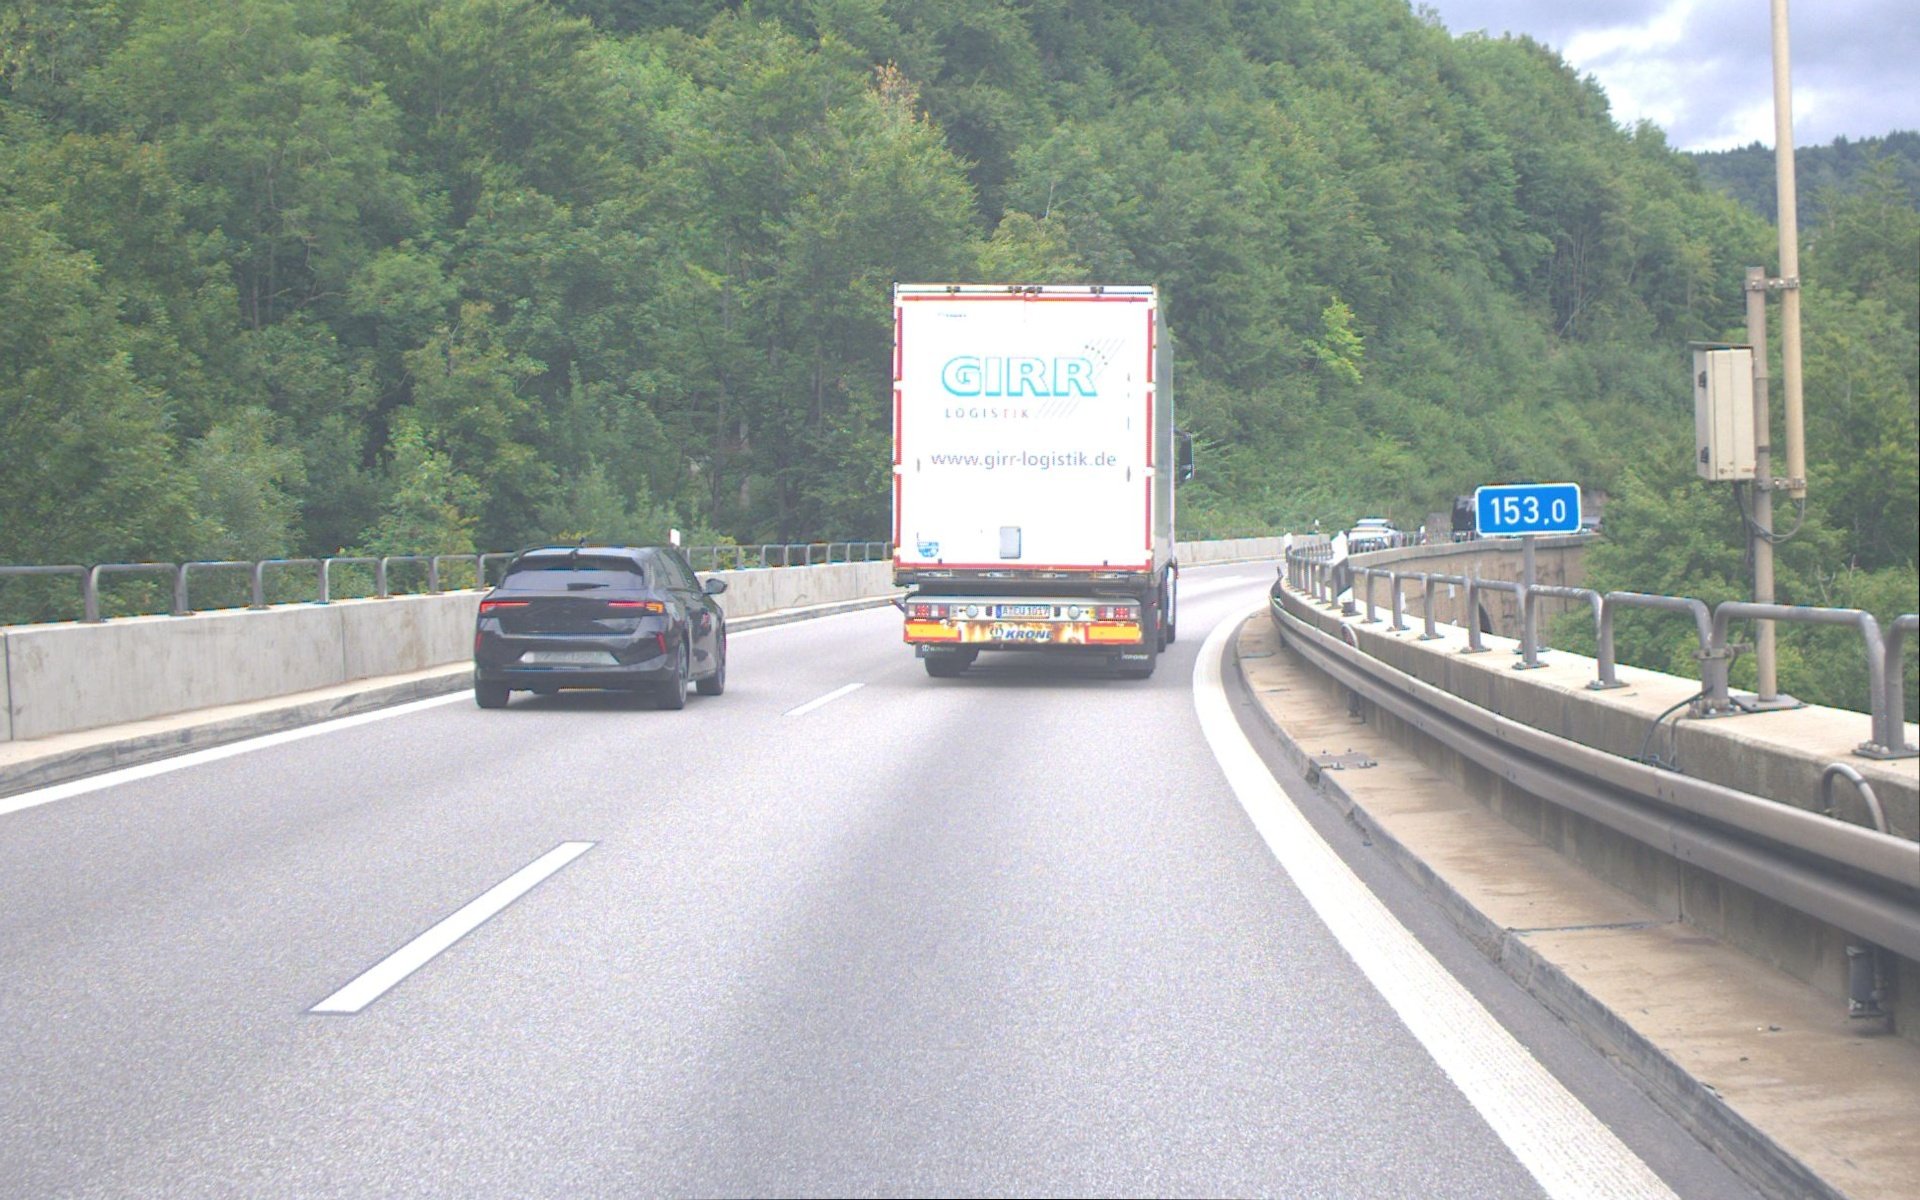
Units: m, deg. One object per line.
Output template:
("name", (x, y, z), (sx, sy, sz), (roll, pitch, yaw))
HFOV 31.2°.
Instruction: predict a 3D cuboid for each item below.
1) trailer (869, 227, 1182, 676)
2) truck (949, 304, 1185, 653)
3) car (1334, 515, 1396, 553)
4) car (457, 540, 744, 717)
("trailer", (1.018, -1.463, 39.228), (2.814, 4.288, 12.243), (0, 0, 4))
("truck", (1.525, -1.520, 45.722), (2.814, 4.288, 6.258), (0, 0, 5))
("car", (17.604, -2.850, 149.434), (1.995, 1.560, 3.997), (0, 0, 17))
("car", (-3.128, 0.207, 30.795), (1.773, 1.456, 4.581), (0, 1, 4))
